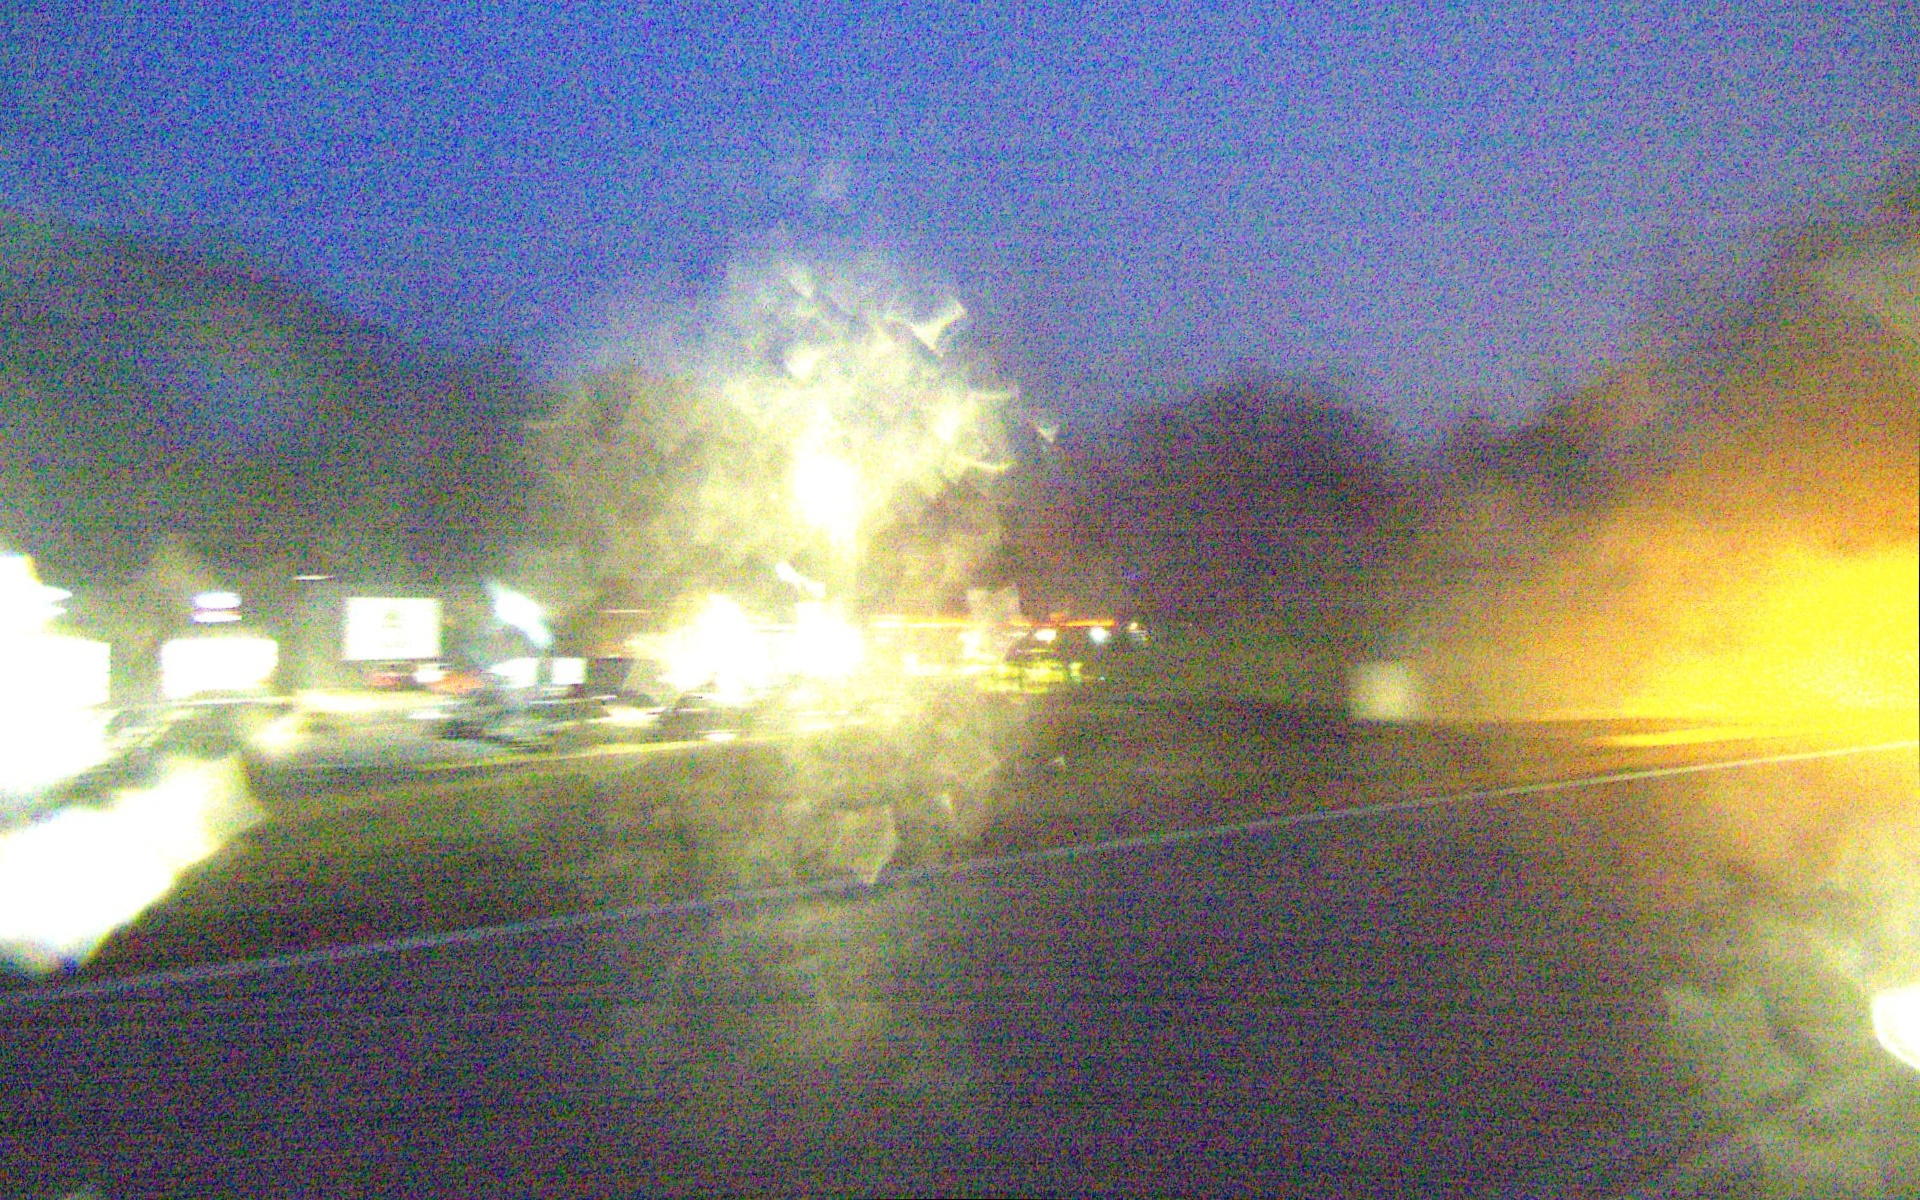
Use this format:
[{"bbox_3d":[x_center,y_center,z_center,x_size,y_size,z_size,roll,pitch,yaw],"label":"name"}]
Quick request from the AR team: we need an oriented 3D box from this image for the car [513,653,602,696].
[{"bbox_3d":[-23.218,4.276,58.017,4.414,2.294,1.981,2,-1,-35],"label":"car"}]

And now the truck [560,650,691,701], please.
[{"bbox_3d":[-18.180,4.047,54.864,6.447,2.495,2.298,2,-1,-43],"label":"truck"}]

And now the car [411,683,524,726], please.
[{"bbox_3d":[-20.542,4.342,41.992,3.965,1.616,1.759,2,-7,-39],"label":"car"}]

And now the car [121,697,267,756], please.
[{"bbox_3d":[-23.809,3.887,31.265,3.486,1.638,1.731,3,-6,-41],"label":"car"}]

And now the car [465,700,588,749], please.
[{"bbox_3d":[-16.354,4.684,37.941,3.965,1.616,1.759,2,-7,-39],"label":"car"}]

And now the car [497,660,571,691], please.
[{"bbox_3d":[-26.288,4.634,61.966,3.957,1.735,1.848,2,-1,-33],"label":"car"}]

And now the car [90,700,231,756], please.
[{"bbox_3d":[-26.032,4.128,32.787,3.486,1.638,1.666,3,-6,-41],"label":"car"}]

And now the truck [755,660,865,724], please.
[{"bbox_3d":[-7.951,4.862,53.579,5.670,3.215,1.984,3,-7,-42],"label":"truck"}]

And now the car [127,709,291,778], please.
[{"bbox_3d":[-20.638,3.895,27.649,3.486,1.638,1.731,3,-6,-41],"label":"car"}]

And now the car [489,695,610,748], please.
[{"bbox_3d":[-14.790,4.360,36.255,3.718,1.715,1.759,2,-7,-39],"label":"car"}]

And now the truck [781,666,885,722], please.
[{"bbox_3d":[-6.429,4.781,51.216,5.141,2.664,1.756,3,-7,-42],"label":"truck"}]

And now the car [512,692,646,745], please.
[{"bbox_3d":[-13.018,4.030,34.376,3.965,1.616,1.759,2,-7,-39],"label":"car"}]

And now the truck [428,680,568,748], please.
[{"bbox_3d":[-18.291,4.496,39.917,4.777,2.475,1.759,2,-7,-39],"label":"truck"}]

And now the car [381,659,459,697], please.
[{"bbox_3d":[-33.360,4.769,62.108,4.115,2.159,1.983,2,-1,-31],"label":"car"}]
